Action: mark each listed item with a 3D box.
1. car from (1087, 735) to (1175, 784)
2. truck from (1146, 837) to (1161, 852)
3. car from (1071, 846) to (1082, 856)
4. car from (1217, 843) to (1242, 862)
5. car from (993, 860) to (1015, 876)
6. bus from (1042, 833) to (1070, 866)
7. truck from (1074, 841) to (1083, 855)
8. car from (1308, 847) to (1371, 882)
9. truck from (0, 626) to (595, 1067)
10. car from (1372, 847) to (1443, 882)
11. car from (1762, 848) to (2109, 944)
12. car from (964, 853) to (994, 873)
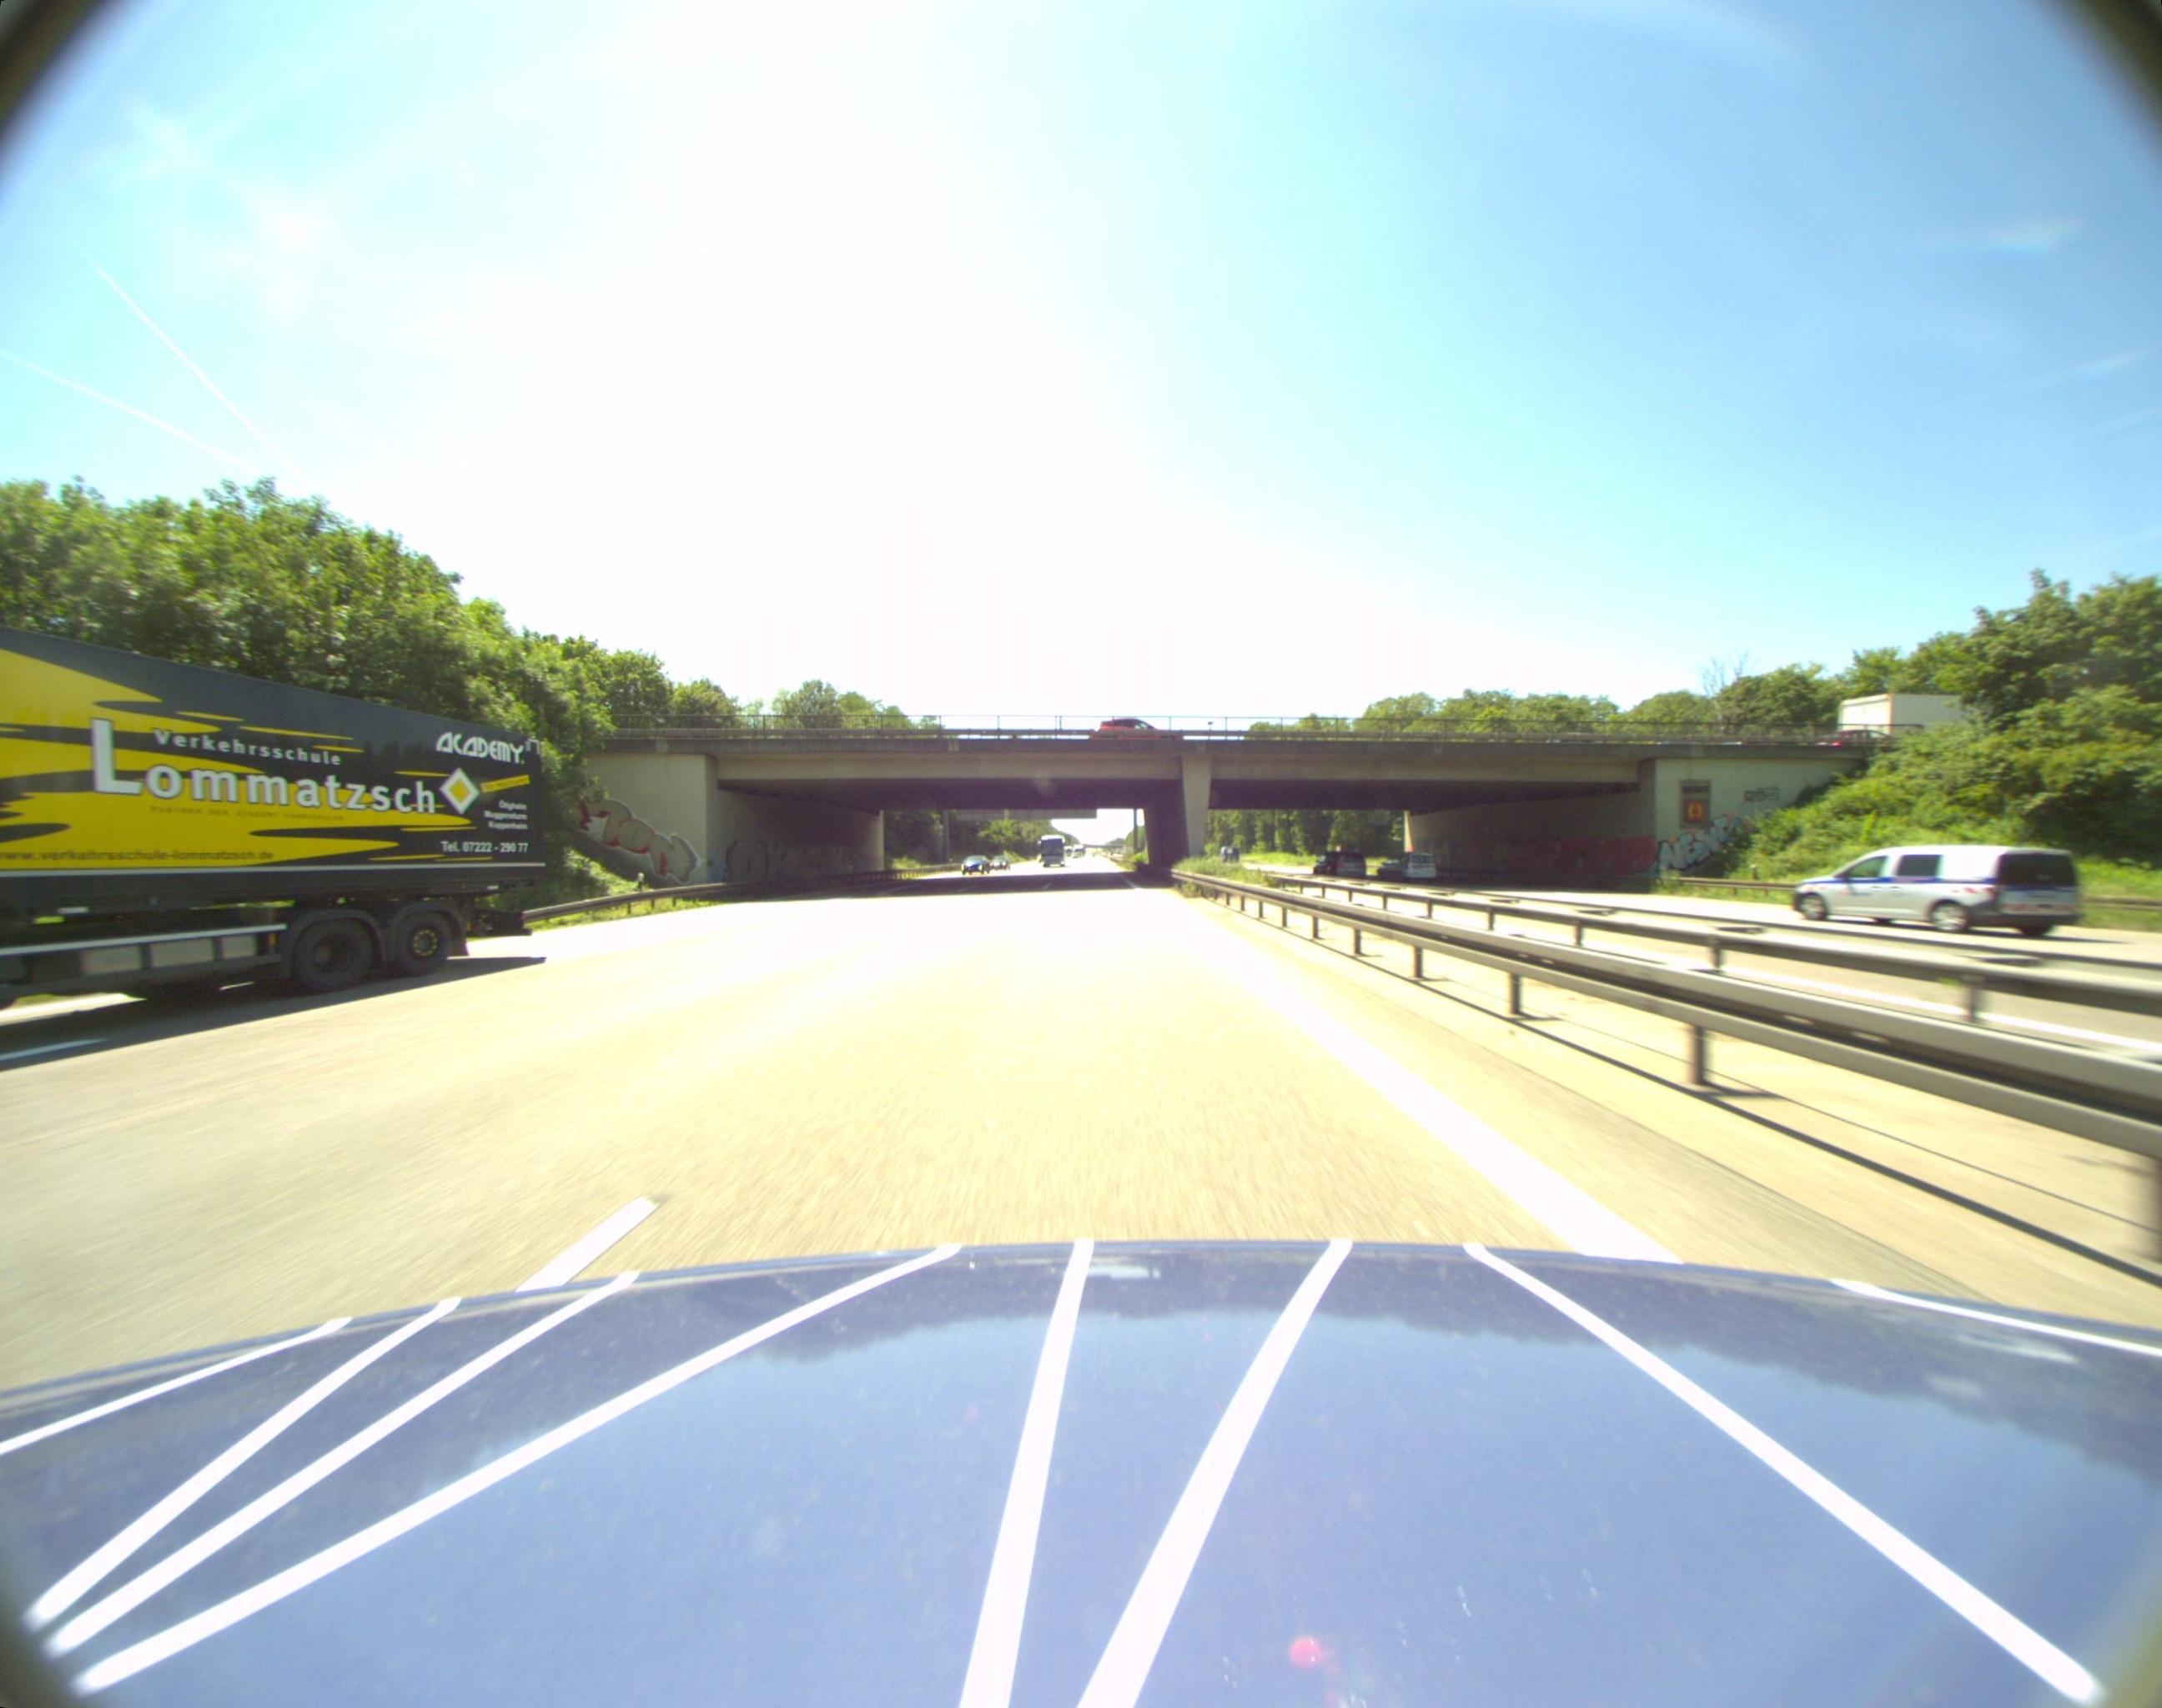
[{"bbox_3d":[2.375,-4.575,36.963,3.998,2.002,1.999,-2,1,-2],"label":"car"},{"bbox_3d":[21.123,-2.758,222.051,3.074,4.227,13.959,2,1,0],"label":"truck"},{"bbox_3d":[-1.209,-0.729,195.418,2.616,2.389,7.122,-2,1,1],"label":"car"},{"bbox_3d":[19.324,-0.193,99.233,2.094,2.385,5.733,-2,1,0],"label":"car"},{"bbox_3d":[-7.970,1.396,78.775,1.674,1.439,4.573,-2,1,1],"label":"car"},{"bbox_3d":[-2.887,-0.535,90.568,2.617,3.532,13.681,-2,1,1],"label":"bus"},{"bbox_3d":[-0.724,-2.053,252.382,2.616,4.638,10.960,-2,1,1],"label":"truck"},{"bbox_3d":[13.284,0.487,39.364,1.744,1.709,4.639,0,1,1],"label":"car"},{"bbox_3d":[-11.255,-0.047,9.420,2.982,4.013,10.980,-3,1,1],"label":"truck"},{"bbox_3d":[17.636,0.512,41.311,1.744,1.795,4.934,0,1,1],"label":"car"},{"bbox_3d":[18.047,0.755,16.570,1.744,1.753,5.085,0,1,-1],"label":"car"},{"bbox_3d":[-8.518,0.715,63.748,1.875,1.547,4.201,-2,1,1],"label":"car"}]
